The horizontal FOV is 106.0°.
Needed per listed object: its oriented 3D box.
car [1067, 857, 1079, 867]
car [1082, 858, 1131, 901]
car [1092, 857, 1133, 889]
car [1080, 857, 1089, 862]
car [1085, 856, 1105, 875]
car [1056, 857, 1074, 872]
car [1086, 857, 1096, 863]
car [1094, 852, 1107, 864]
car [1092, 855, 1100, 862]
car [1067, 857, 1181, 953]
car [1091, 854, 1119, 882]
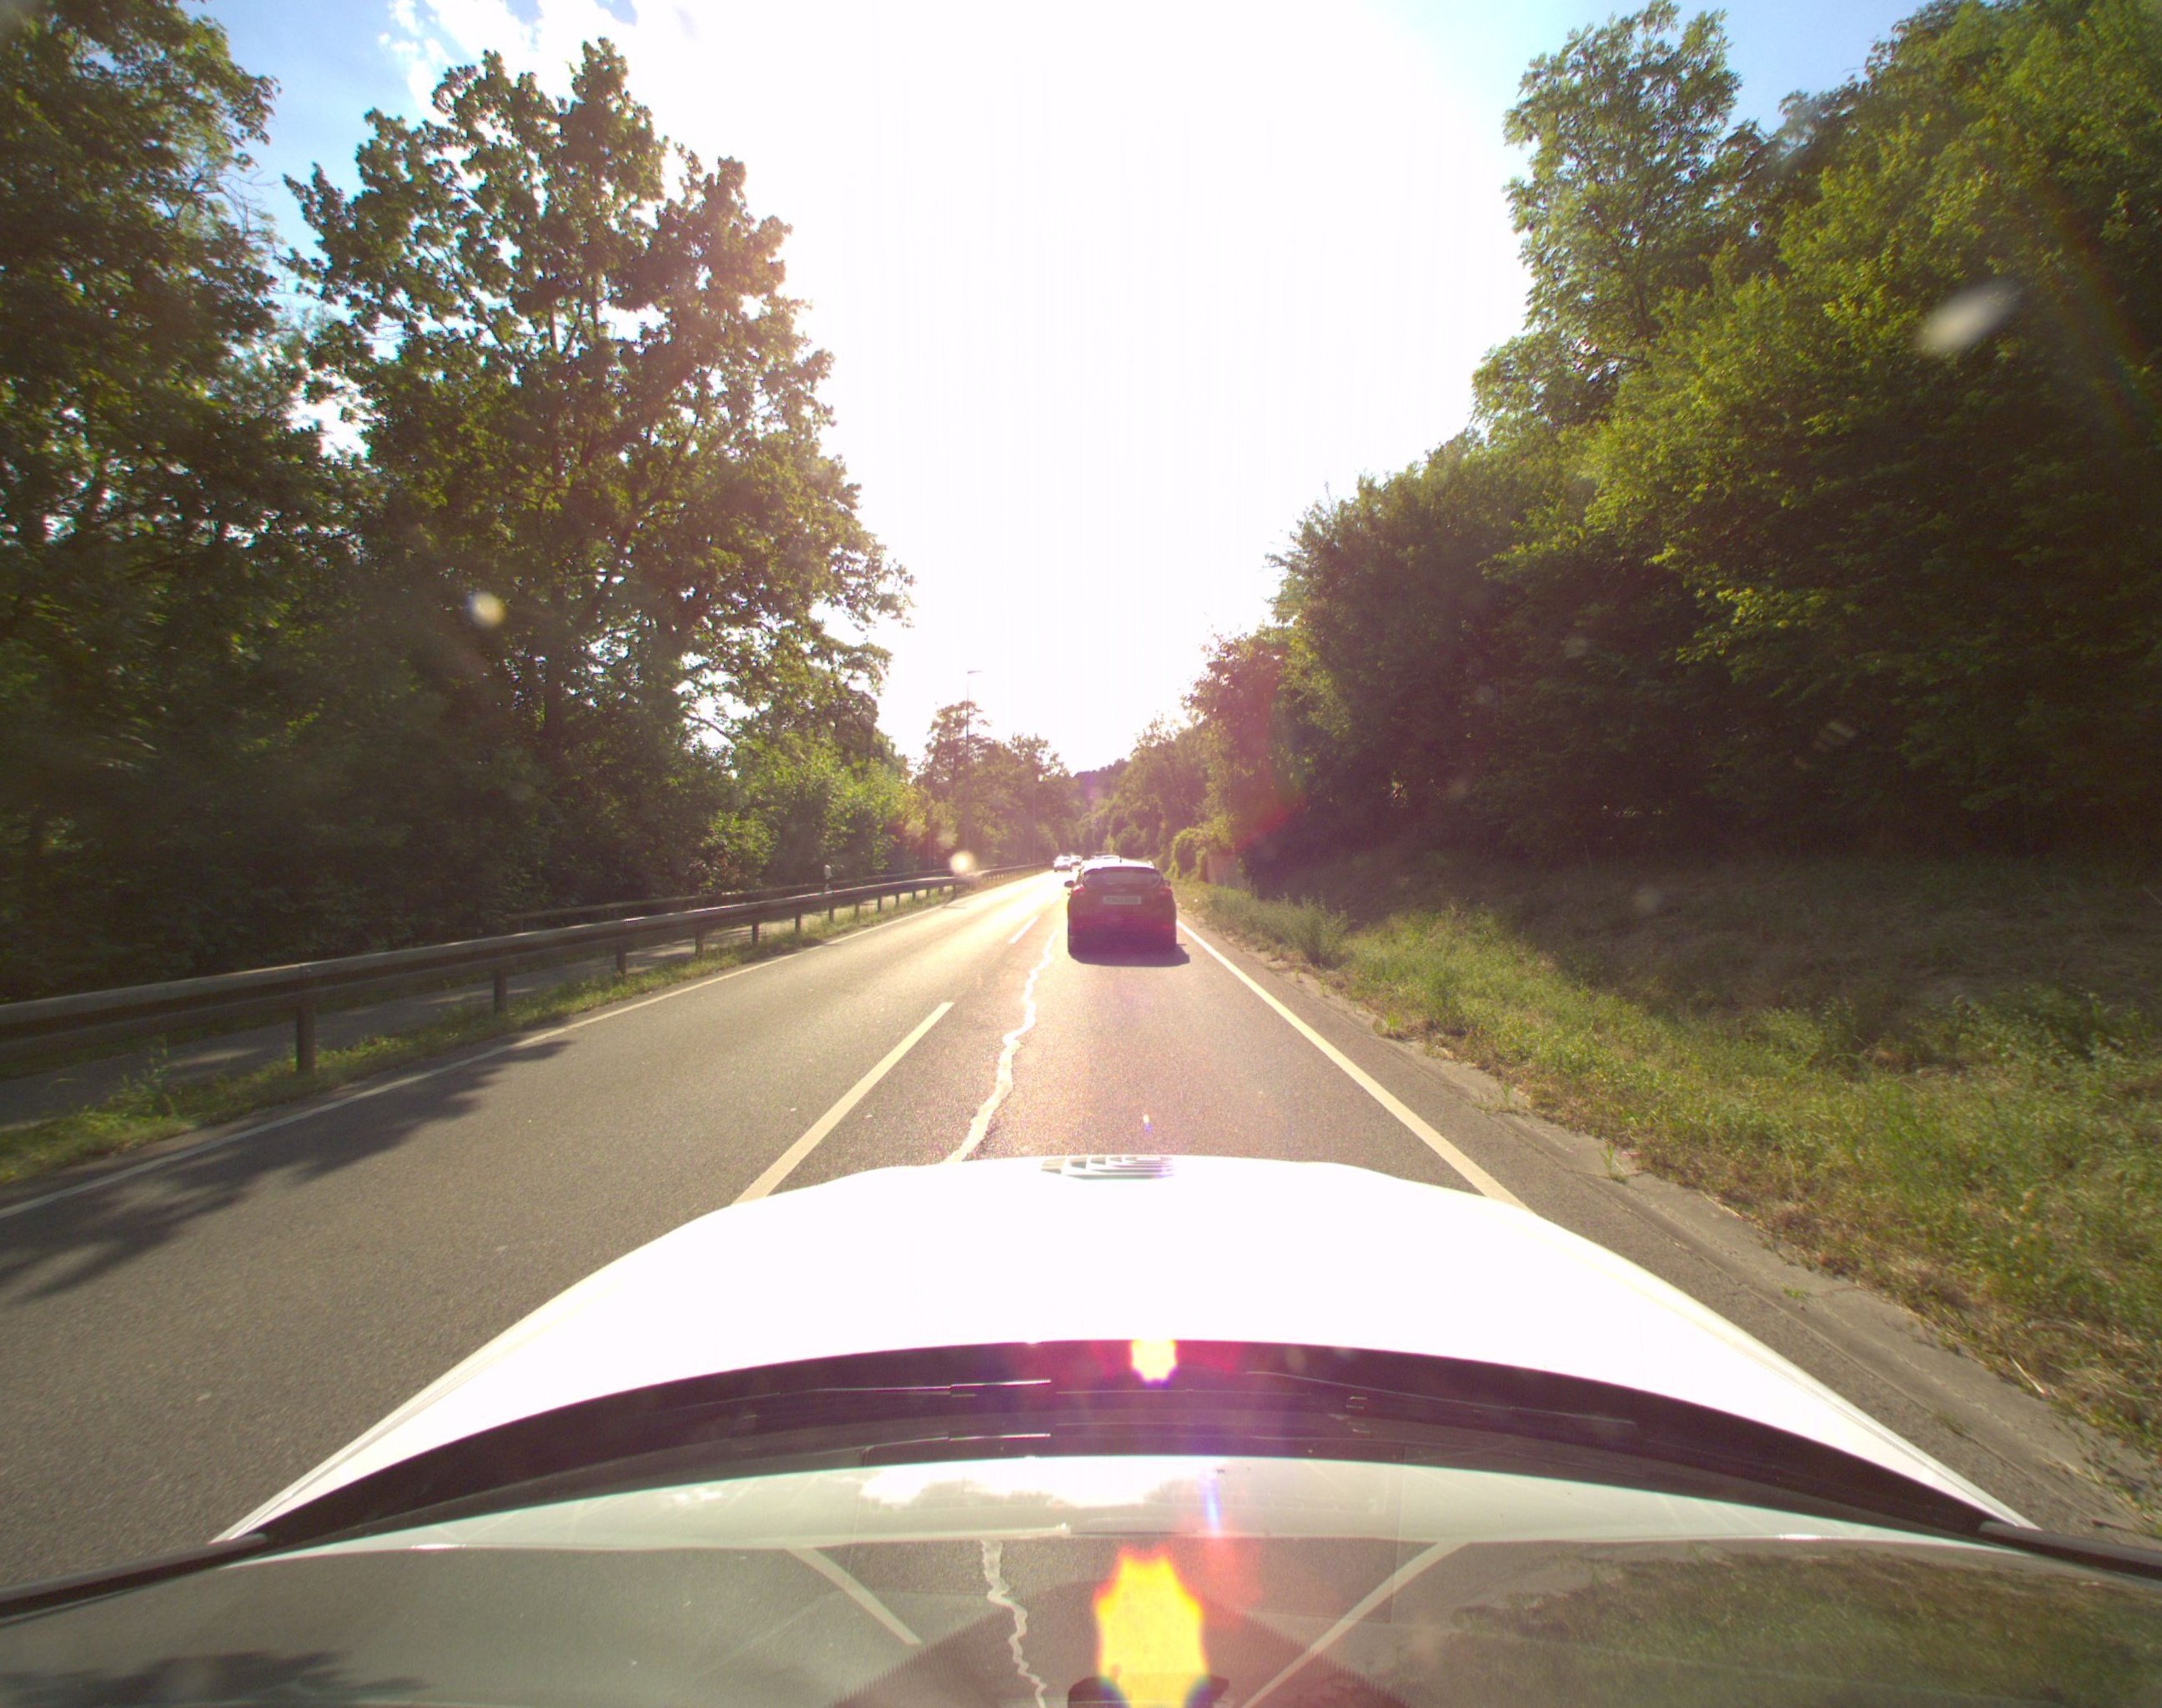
[{"bbox_3d":[-1.160,1.126,118.358,1.676,1.463,4.198,-1,0,1],"label":"car"},{"bbox_3d":[0.974,0.864,29.538,1.654,1.418,4.003,-1,0,3],"label":"car"},{"bbox_3d":[1.437,0.840,38.002,1.798,1.391,4.001,-1,0,2],"label":"car"},{"bbox_3d":[0.929,1.575,229.246,1.991,1.519,3.991,-1,0,-7],"label":"car"},{"bbox_3d":[1.207,0.976,70.085,1.625,1.596,4.002,-1,0,2],"label":"car"},{"bbox_3d":[-1.540,1.012,79.028,1.617,1.377,4.048,-1,0,1],"label":"car"},{"bbox_3d":[2.547,1.418,200.361,1.991,1.519,3.992,-1,0,-6],"label":"car"},{"bbox_3d":[3.010,0.619,124.076,1.857,1.780,3.999,-1,0,0],"label":"car"},{"bbox_3d":[3.233,0.997,174.078,1.812,1.519,4.001,-1,0,2],"label":"car"},{"bbox_3d":[0.714,0.790,14.437,1.733,1.456,4.001,0,0,2],"label":"car"},{"bbox_3d":[1.462,0.839,49.085,1.625,1.596,4.002,-1,0,2],"label":"car"}]
